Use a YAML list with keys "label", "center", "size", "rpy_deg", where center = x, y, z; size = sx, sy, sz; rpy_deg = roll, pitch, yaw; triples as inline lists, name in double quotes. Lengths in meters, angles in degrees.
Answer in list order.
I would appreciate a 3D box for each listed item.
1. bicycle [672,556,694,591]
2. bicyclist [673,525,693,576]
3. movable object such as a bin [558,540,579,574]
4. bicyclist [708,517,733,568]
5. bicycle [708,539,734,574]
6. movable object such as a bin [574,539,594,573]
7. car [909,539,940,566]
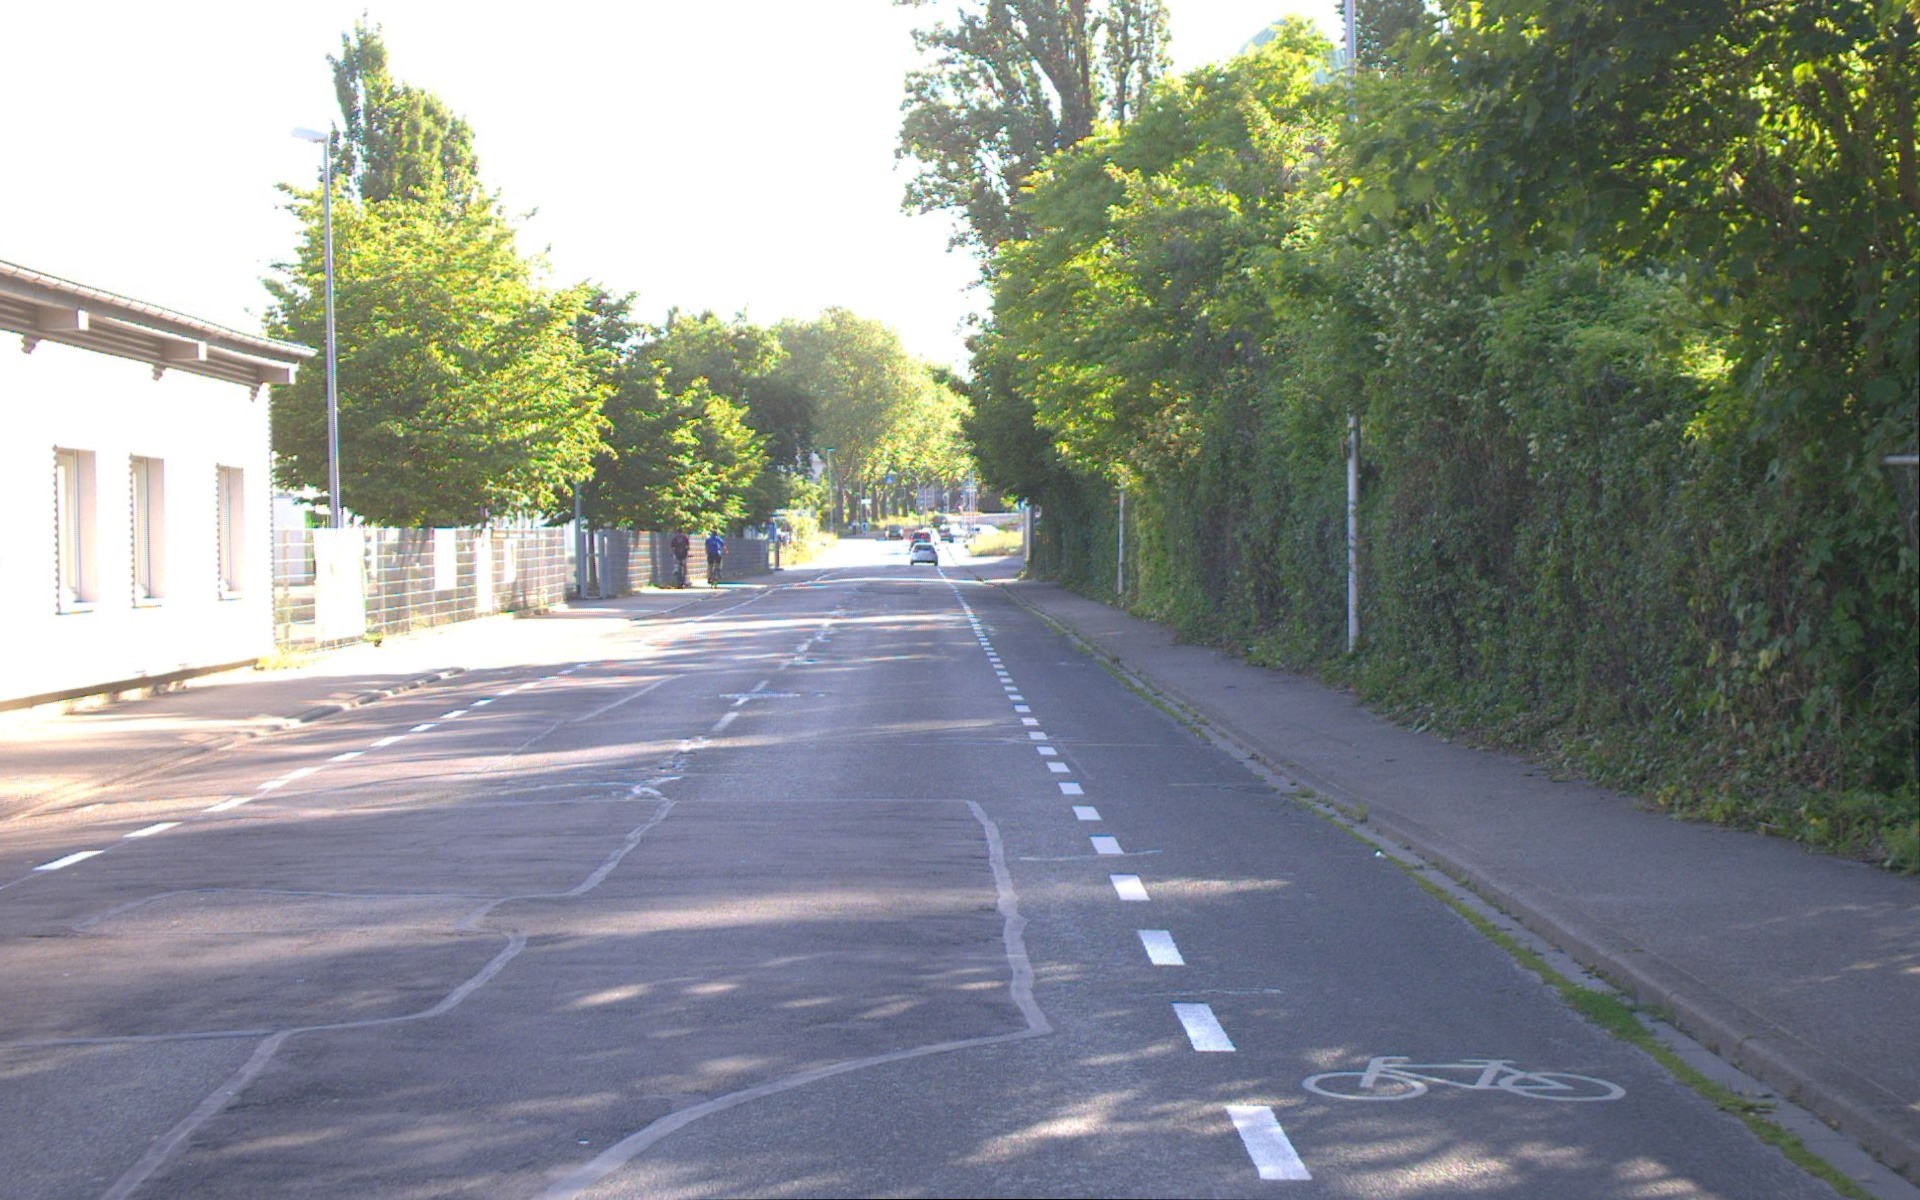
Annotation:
- label: "bicycle"
  center: [-8.398, -0.805, 104.223]
  size: [0.563, 1.030, 1.351]
  rpy_deg: [0, 2, -1]
- label: "bicyclist"
  center: [-8.399, -1.511, 104.146]
  size: [0.560, 1.528, 0.689]
  rpy_deg: [0, 1, 0]
- label: "movable object such as a bin"
  center: [-12.735, -1.401, 111.818]
  size: [0.463, 1.072, 1.570]
  rpy_deg: [-2, 1, -1]
- label: "bicyclist"
  center: [-7.204, -1.733, 103.541]
  size: [0.689, 1.526, 0.722]
  rpy_deg: [0, 1, 0]
- label: "bicycle"
  center: [-7.193, -1.304, 103.593]
  size: [0.689, 1.030, 1.351]
  rpy_deg: [0, 2, -1]
- label: "movable object such as a bin"
  center: [-12.219, -1.419, 111.640]
  size: [0.463, 1.072, 1.570]
  rpy_deg: [-2, 1, -1]
- label: "car"
  center: [-2.277, -3.024, 218.248]
  size: [1.942, 1.645, 4.310]
  rpy_deg: [0, 2, -1]
